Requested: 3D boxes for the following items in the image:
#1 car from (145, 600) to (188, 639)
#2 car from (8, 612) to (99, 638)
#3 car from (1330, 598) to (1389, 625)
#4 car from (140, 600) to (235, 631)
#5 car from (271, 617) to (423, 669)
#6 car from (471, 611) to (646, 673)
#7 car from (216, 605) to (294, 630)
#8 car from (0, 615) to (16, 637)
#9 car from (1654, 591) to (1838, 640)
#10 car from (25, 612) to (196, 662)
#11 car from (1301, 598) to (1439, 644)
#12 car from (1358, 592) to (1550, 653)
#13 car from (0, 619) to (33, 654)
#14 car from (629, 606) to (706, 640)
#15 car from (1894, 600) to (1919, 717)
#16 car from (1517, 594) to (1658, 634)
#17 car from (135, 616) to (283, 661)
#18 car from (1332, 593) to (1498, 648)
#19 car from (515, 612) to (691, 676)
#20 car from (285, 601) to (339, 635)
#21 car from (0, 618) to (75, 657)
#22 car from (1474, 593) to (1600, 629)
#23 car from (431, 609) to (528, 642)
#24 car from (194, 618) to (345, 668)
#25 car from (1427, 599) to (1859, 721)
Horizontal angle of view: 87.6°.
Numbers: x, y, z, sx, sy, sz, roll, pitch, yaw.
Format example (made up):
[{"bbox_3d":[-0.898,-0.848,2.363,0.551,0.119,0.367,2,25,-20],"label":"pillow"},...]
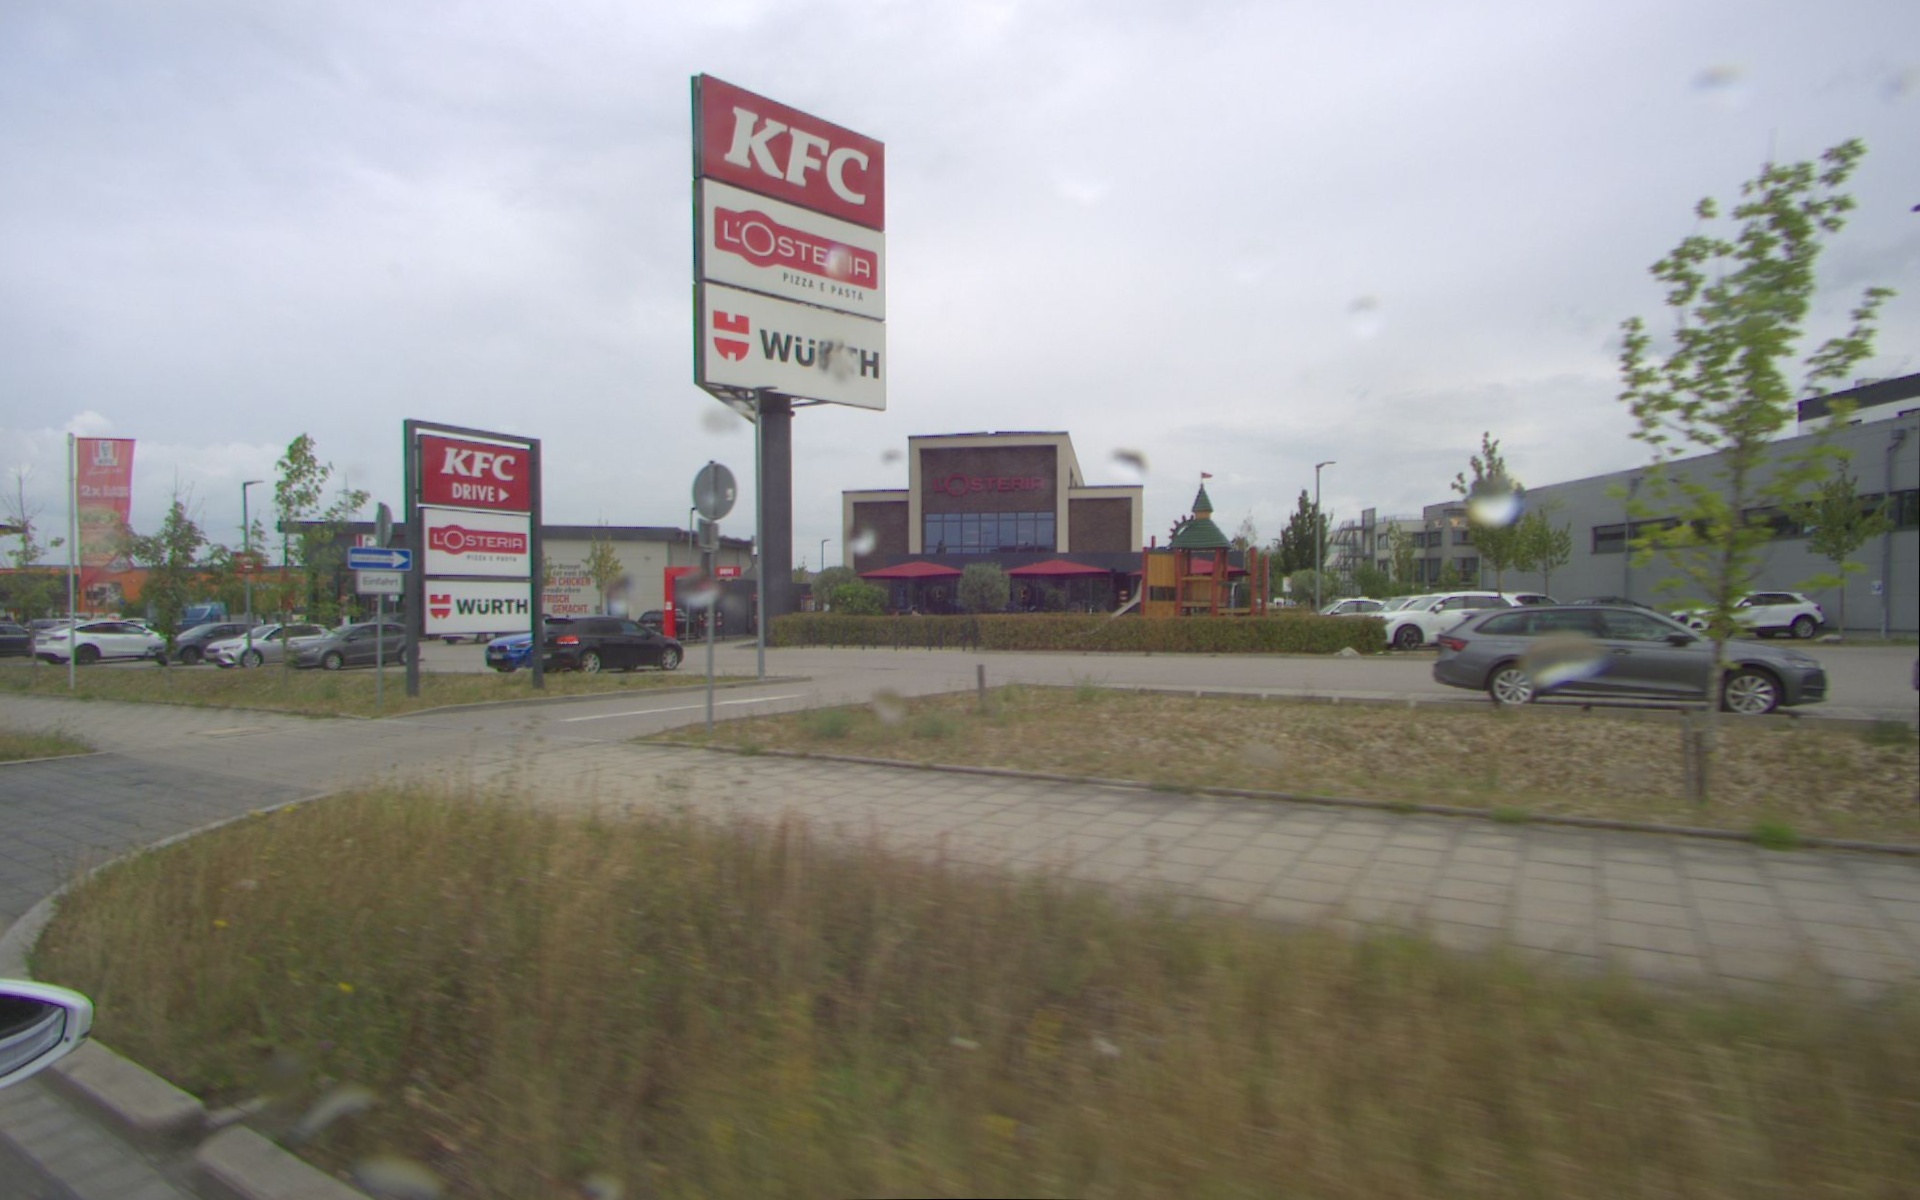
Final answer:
[{"bbox_3d":[-55.040,1.318,69.450,2.255,2.535,7.268,0,0,-39],"label":"car"},{"bbox_3d":[-64.071,1.745,70.872,4.681,1.678,1.983,0,0,-41],"label":"car"},{"bbox_3d":[23.990,0.663,60.283,2.040,1.539,4.457,-1,1,5],"label":"car"},{"bbox_3d":[-64.198,1.261,83.363,5.963,2.562,2.268,0,0,-32],"label":"car"},{"bbox_3d":[-19.682,1.331,32.311,1.860,1.513,3.755,-1,0,27],"label":"car"},{"bbox_3d":[-11.088,1.108,27.948,1.936,1.540,4.257,0,0,30],"label":"car"},{"bbox_3d":[-54.736,1.344,77.833,4.602,1.840,1.864,-1,0,-9],"label":"car"},{"bbox_3d":[-75.427,2.004,77.270,1.963,1.744,3.996,0,-1,-14],"label":"car"},{"bbox_3d":[26.341,0.491,33.691,4.487,1.539,2.080,-1,1,3],"label":"car"},{"bbox_3d":[-32.678,1.367,38.696,2.052,1.667,4.564,-1,1,20],"label":"car"},{"bbox_3d":[14.975,0.756,36.742,4.243,1.650,1.985,0,0,2],"label":"car"},{"bbox_3d":[14.594,0.657,29.792,4.699,1.720,2.000,0,0,2],"label":"car"},{"bbox_3d":[-41.948,1.571,42.004,1.907,1.457,4.092,0,0,14],"label":"car"},{"bbox_3d":[-14.407,1.099,49.663,1.861,1.539,4.573,-1,1,9],"label":"car"},{"bbox_3d":[14.065,0.717,11.290,4.803,1.456,1.862,0,0,28],"label":"car"},{"bbox_3d":[25.757,0.561,41.211,4.487,1.539,2.080,-1,1,0],"label":"car"},{"bbox_3d":[-27.879,1.410,37.320,1.909,1.504,3.987,-1,0,24],"label":"car"},{"bbox_3d":[14.684,0.657,32.499,4.450,1.700,2.133,0,0,-2],"label":"car"},{"bbox_3d":[-9.215,1.087,26.097,1.953,1.513,3.979,-1,0,32],"label":"car"},{"bbox_3d":[-46.696,1.271,72.140,2.508,2.382,5.641,0,0,-41],"label":"car"},{"bbox_3d":[-39.285,1.527,40.783,1.995,1.488,4.526,0,0,16],"label":"car"},{"bbox_3d":[26.100,0.488,45.423,4.487,1.539,2.080,-1,1,3],"label":"car"},{"bbox_3d":[-24.205,1.254,50.636,2.042,1.539,4.572,-1,1,11],"label":"car"},{"bbox_3d":[-23.807,1.433,34.651,1.872,1.501,3.859,-1,1,26],"label":"car"},{"bbox_3d":[9.300,0.738,14.175,4.759,1.479,1.959,0,0,30],"label":"car"}]
